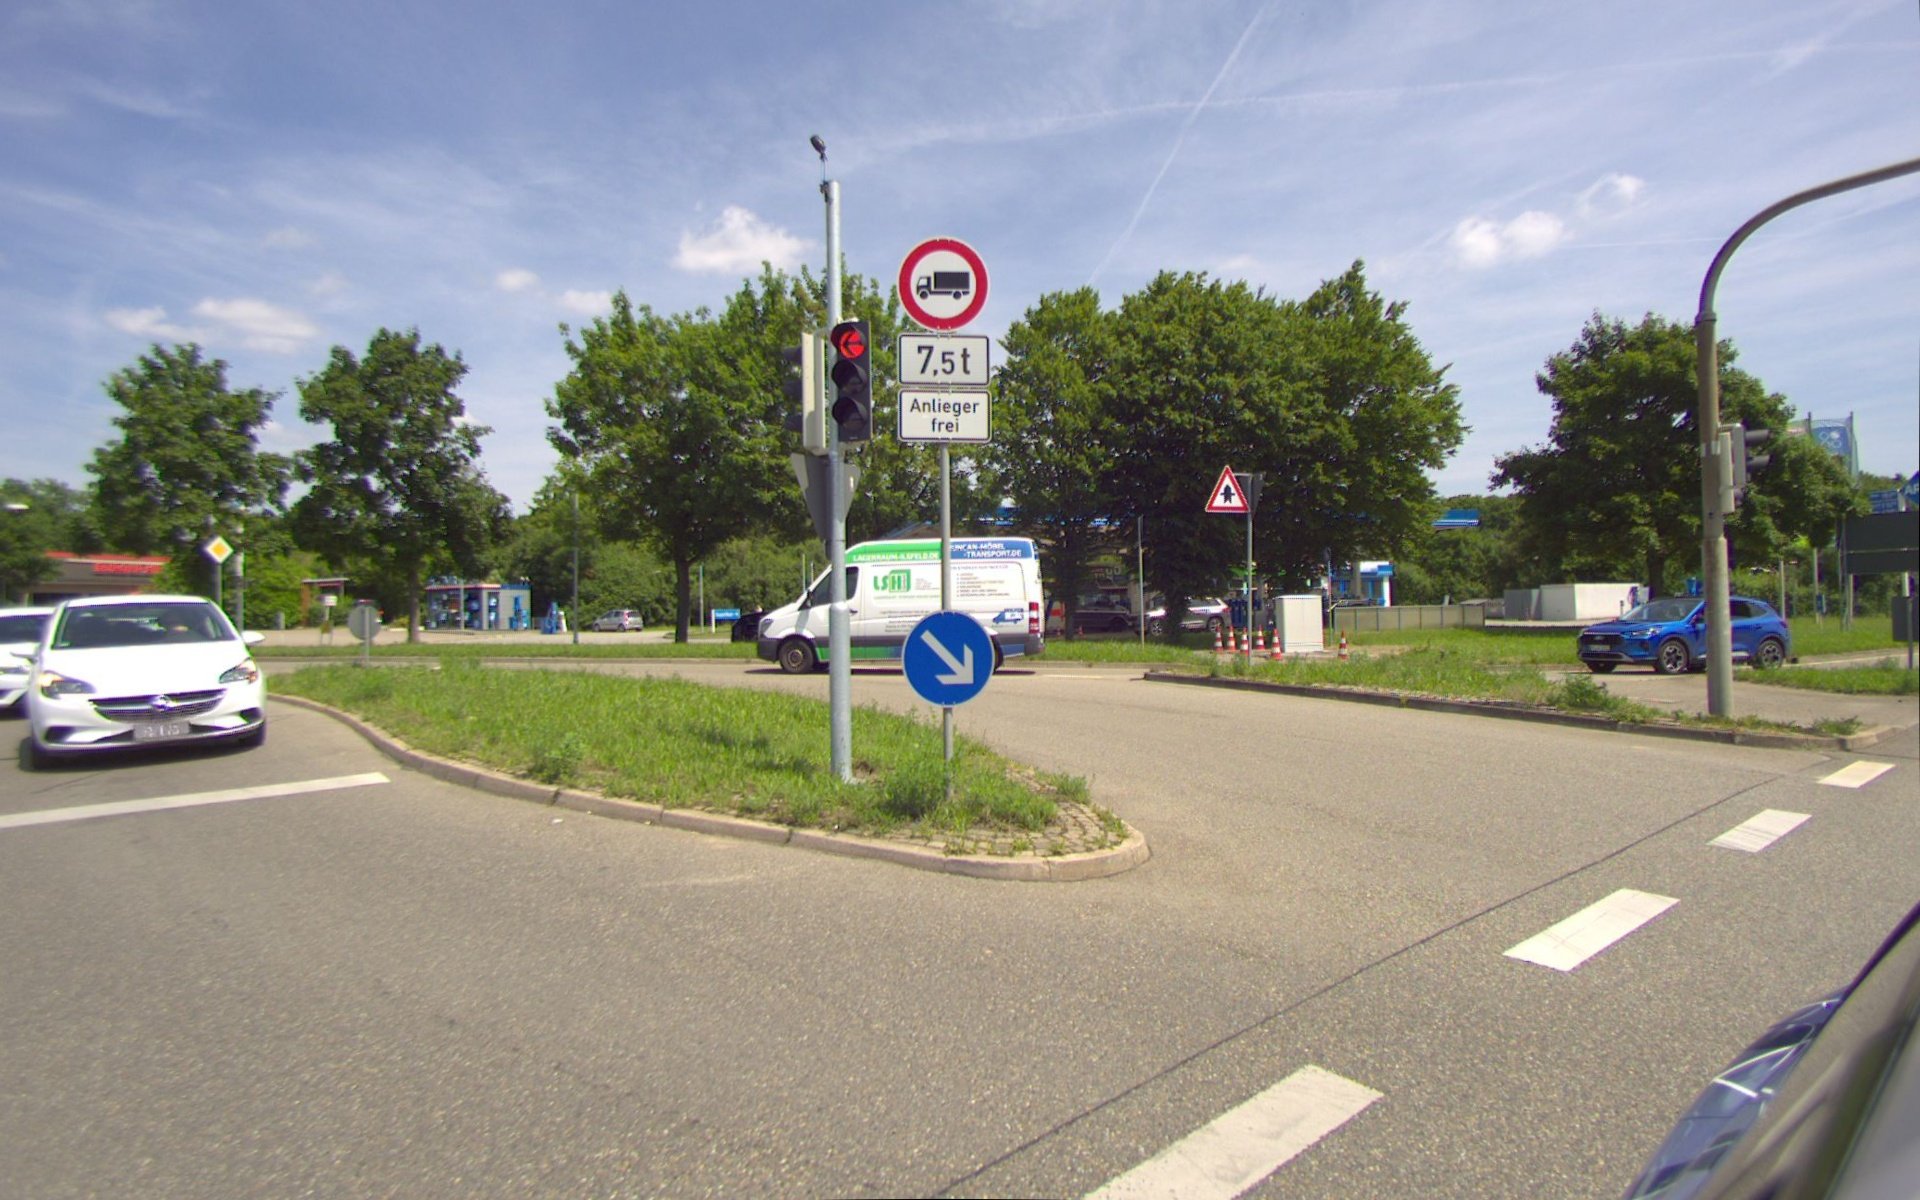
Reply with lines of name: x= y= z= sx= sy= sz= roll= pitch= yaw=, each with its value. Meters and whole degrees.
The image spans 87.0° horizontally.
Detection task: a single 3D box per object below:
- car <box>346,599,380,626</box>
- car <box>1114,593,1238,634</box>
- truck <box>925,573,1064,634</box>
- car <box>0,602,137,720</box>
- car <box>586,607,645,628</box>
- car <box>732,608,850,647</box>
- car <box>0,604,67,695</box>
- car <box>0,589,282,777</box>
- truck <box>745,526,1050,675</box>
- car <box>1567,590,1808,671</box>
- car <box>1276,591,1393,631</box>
car: x=-44.326 y=0.894 z=75.080 sx=1.805 sy=1.861 sz=3.999 roll=-1 pitch=1 yaw=-36
car: x=9.350 y=0.569 z=43.950 sx=4.838 sy=1.623 sz=2.043 roll=-1 pitch=1 yaw=-10
truck: x=1.556 y=0.128 z=46.633 sx=6.021 sy=2.651 sz=2.267 roll=-1 pitch=0 yaw=-11
car: x=-13.375 y=0.788 z=14.577 sx=4.090 sy=1.436 sz=1.774 roll=0 pitch=2 yaw=43
car: x=-23.602 y=1.176 z=69.386 sx=3.805 sy=1.397 sz=1.711 roll=-1 pitch=0 yaw=28
car: x=-6.556 y=1.054 z=39.425 sx=4.242 sy=1.380 sz=1.759 roll=-1 pitch=1 yaw=3
car: x=-18.310 y=0.916 z=18.848 sx=4.538 sy=1.529 sz=1.776 roll=-2 pitch=0 yaw=39
car: x=-8.203 y=0.656 z=9.975 sx=1.799 sy=1.437 sz=3.961 roll=-2 pitch=1 yaw=-45
truck: x=-1.147 y=0.044 z=20.233 sx=5.839 sy=2.773 sz=2.069 roll=0 pitch=-2 yaw=6
car: x=15.482 y=0.608 z=21.597 sx=4.296 sy=1.578 sz=1.788 roll=-1 pitch=0 yaw=-14
car: x=16.786 y=0.461 z=45.467 sx=4.534 sy=1.642 sz=2.004 roll=-1 pitch=1 yaw=-10
